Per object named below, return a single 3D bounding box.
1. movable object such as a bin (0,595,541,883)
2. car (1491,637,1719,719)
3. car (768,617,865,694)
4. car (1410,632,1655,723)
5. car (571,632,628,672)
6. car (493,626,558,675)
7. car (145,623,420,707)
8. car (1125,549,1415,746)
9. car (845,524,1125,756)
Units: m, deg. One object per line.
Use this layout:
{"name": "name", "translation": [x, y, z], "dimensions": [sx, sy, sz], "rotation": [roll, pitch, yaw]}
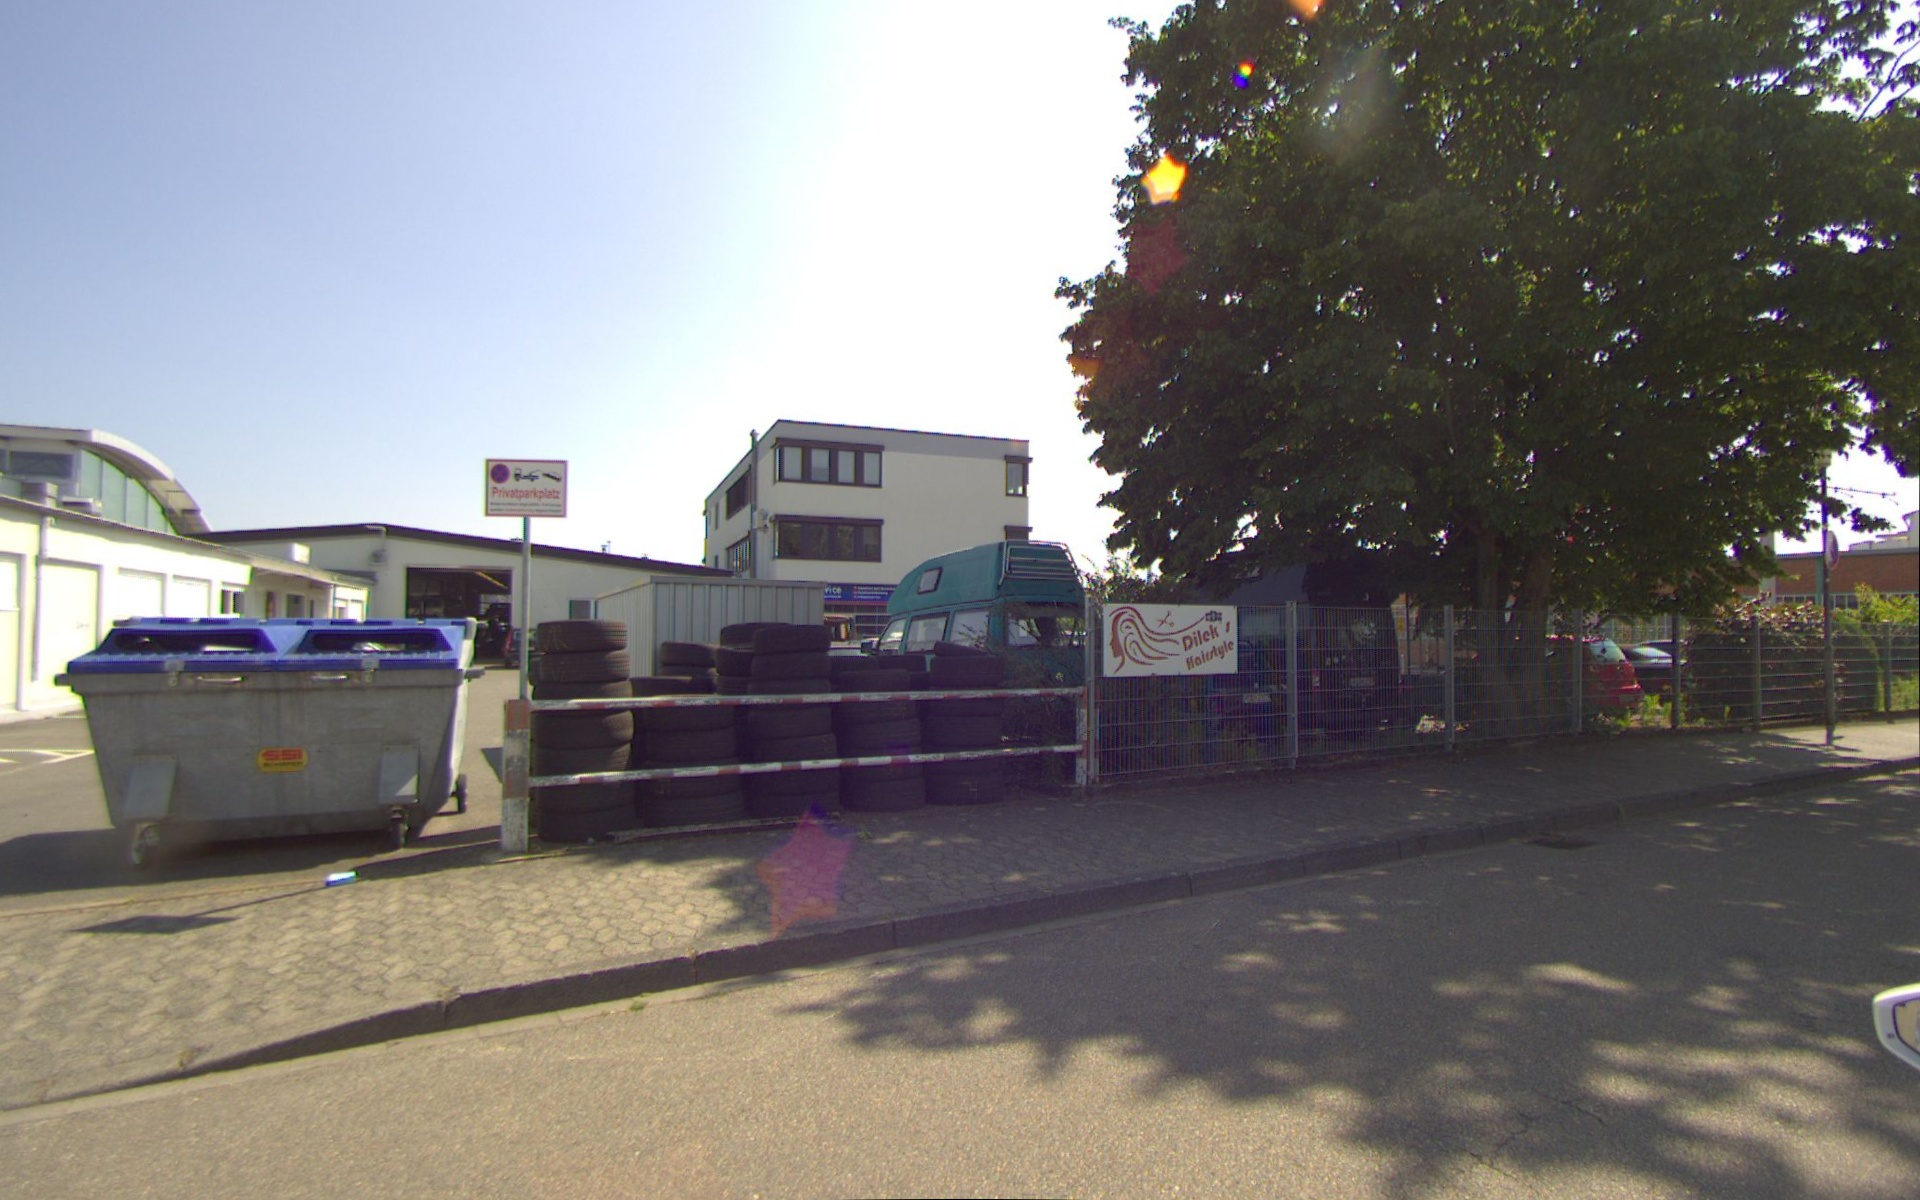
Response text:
{"name": "movable object such as a bin", "translation": [-4.476, 0.812, 7.116], "dimensions": [2.691, 1.530, 2.620], "rotation": [1, -3, -25]}
{"name": "car", "translation": [13.162, 1.530, 20.736], "dimensions": [1.712, 1.497, 3.651], "rotation": [1, -2, -24]}
{"name": "car", "translation": [-4.455, 1.676, 30.642], "dimensions": [1.972, 2.173, 3.979], "rotation": [1, -3, -23]}
{"name": "car", "translation": [10.570, 1.363, 18.786], "dimensions": [1.716, 1.497, 3.643], "rotation": [1, -2, -30]}
{"name": "car", "translation": [-13.889, 1.981, 38.837], "dimensions": [1.969, 1.453, 3.984], "rotation": [1, -3, -19]}
{"name": "car", "translation": [-16.518, 1.894, 38.364], "dimensions": [1.969, 1.750, 3.983], "rotation": [1, -2, -19]}
{"name": "car", "translation": [-13.357, 1.291, 20.119], "dimensions": [4.161, 1.550, 1.813], "rotation": [1, -3, -19]}
{"name": "car", "translation": [4.520, 0.682, 15.228], "dimensions": [1.757, 2.546, 4.064], "rotation": [1, -2, -32]}
{"name": "car", "translation": [0.162, 0.501, 13.252], "dimensions": [1.757, 2.546, 4.064], "rotation": [1, -2, -32]}
